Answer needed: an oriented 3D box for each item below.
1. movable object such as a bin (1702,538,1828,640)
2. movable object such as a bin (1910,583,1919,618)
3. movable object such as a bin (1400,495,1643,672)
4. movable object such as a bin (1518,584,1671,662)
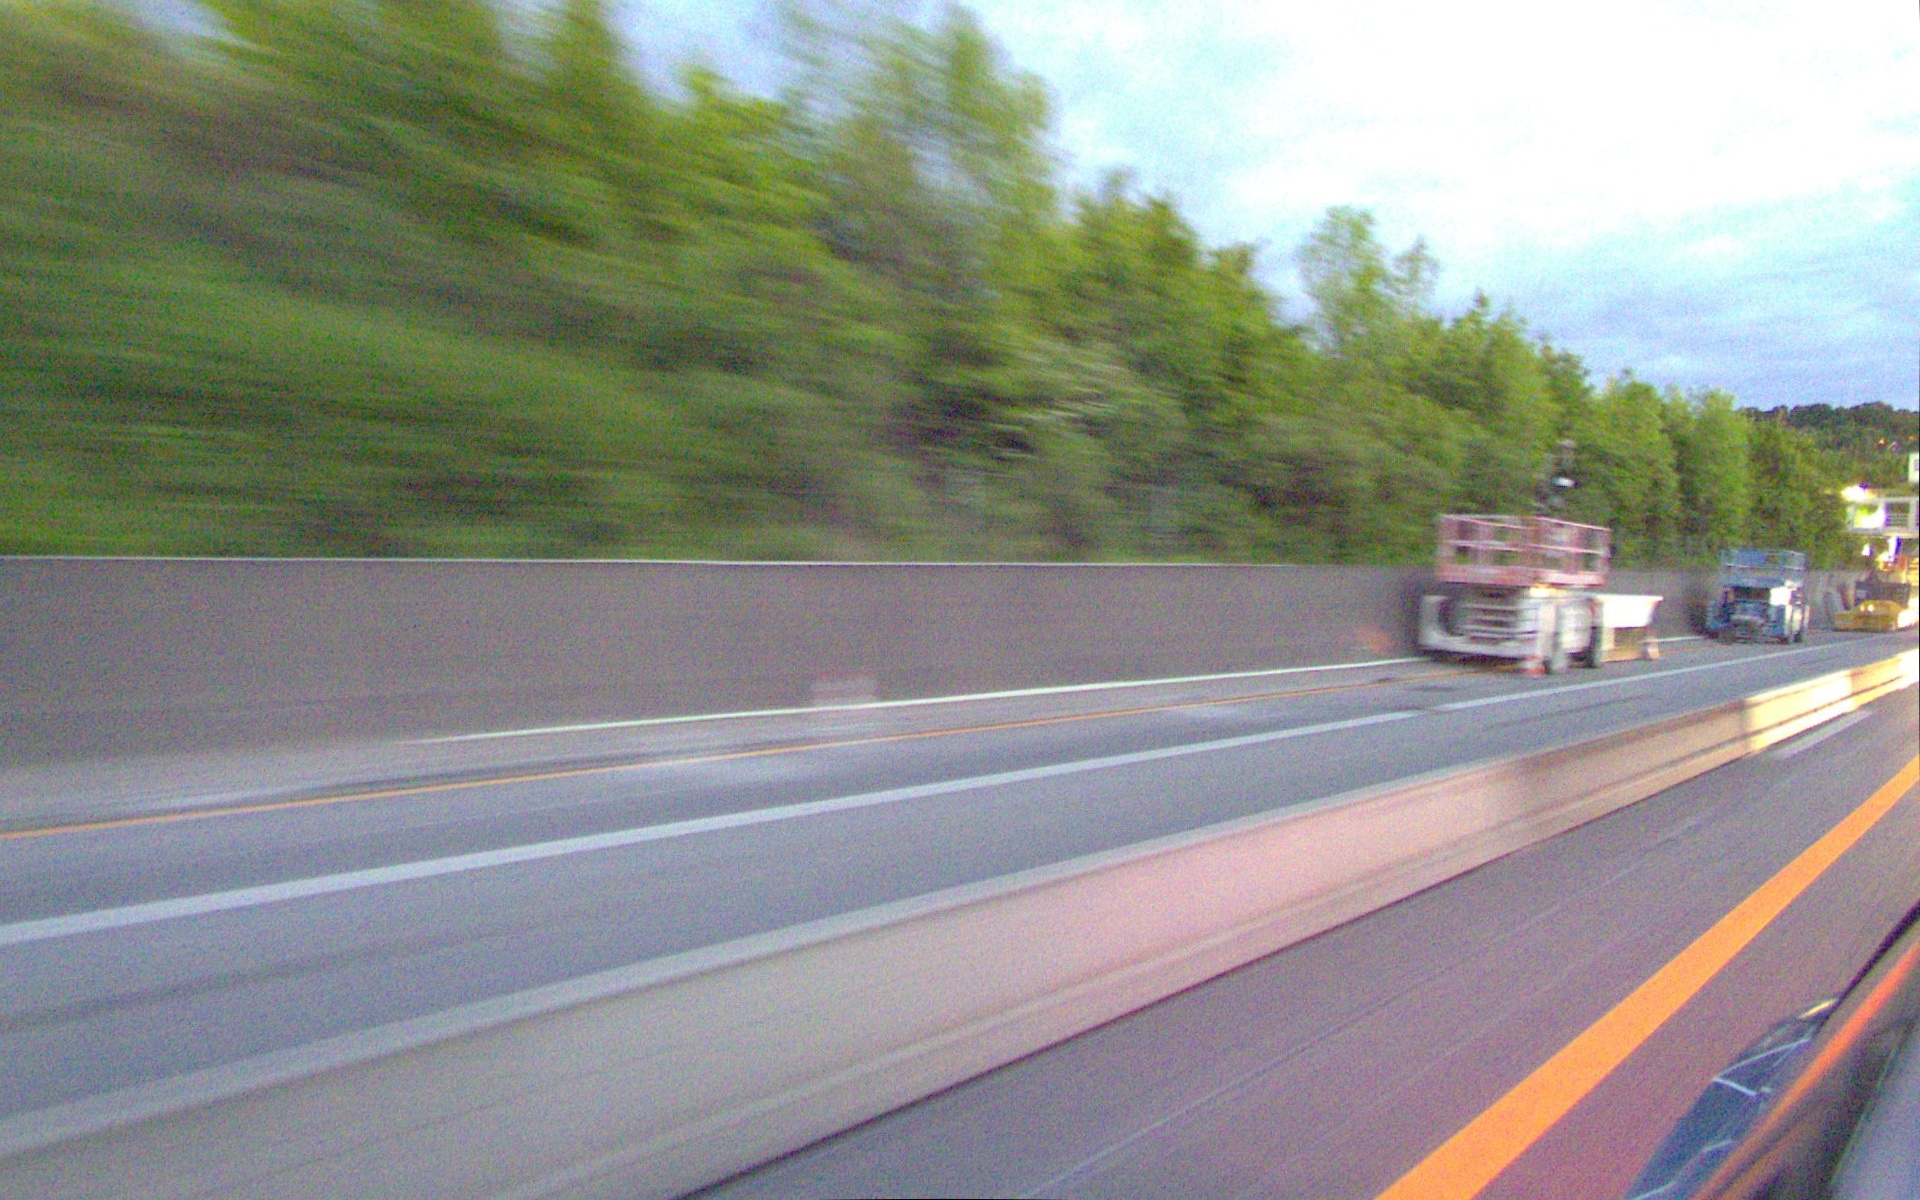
[{"bbox_3d":[28.768,-0.441,36.090,5.483,3.359,2.568,-1,2,-42],"label":"movable object such as a bin"},{"bbox_3d":[81.797,0.005,84.668,7.077,2.863,2.972,-1,0,-44],"label":"movable object such as a bin"},{"bbox_3d":[11.672,-0.357,20.842,5.706,3.146,2.625,-1,2,-42],"label":"movable object such as a bin"},{"bbox_3d":[15.212,0.472,24.199,4.013,1.621,1.998,-1,3,-41],"label":"movable object such as a bin"}]
